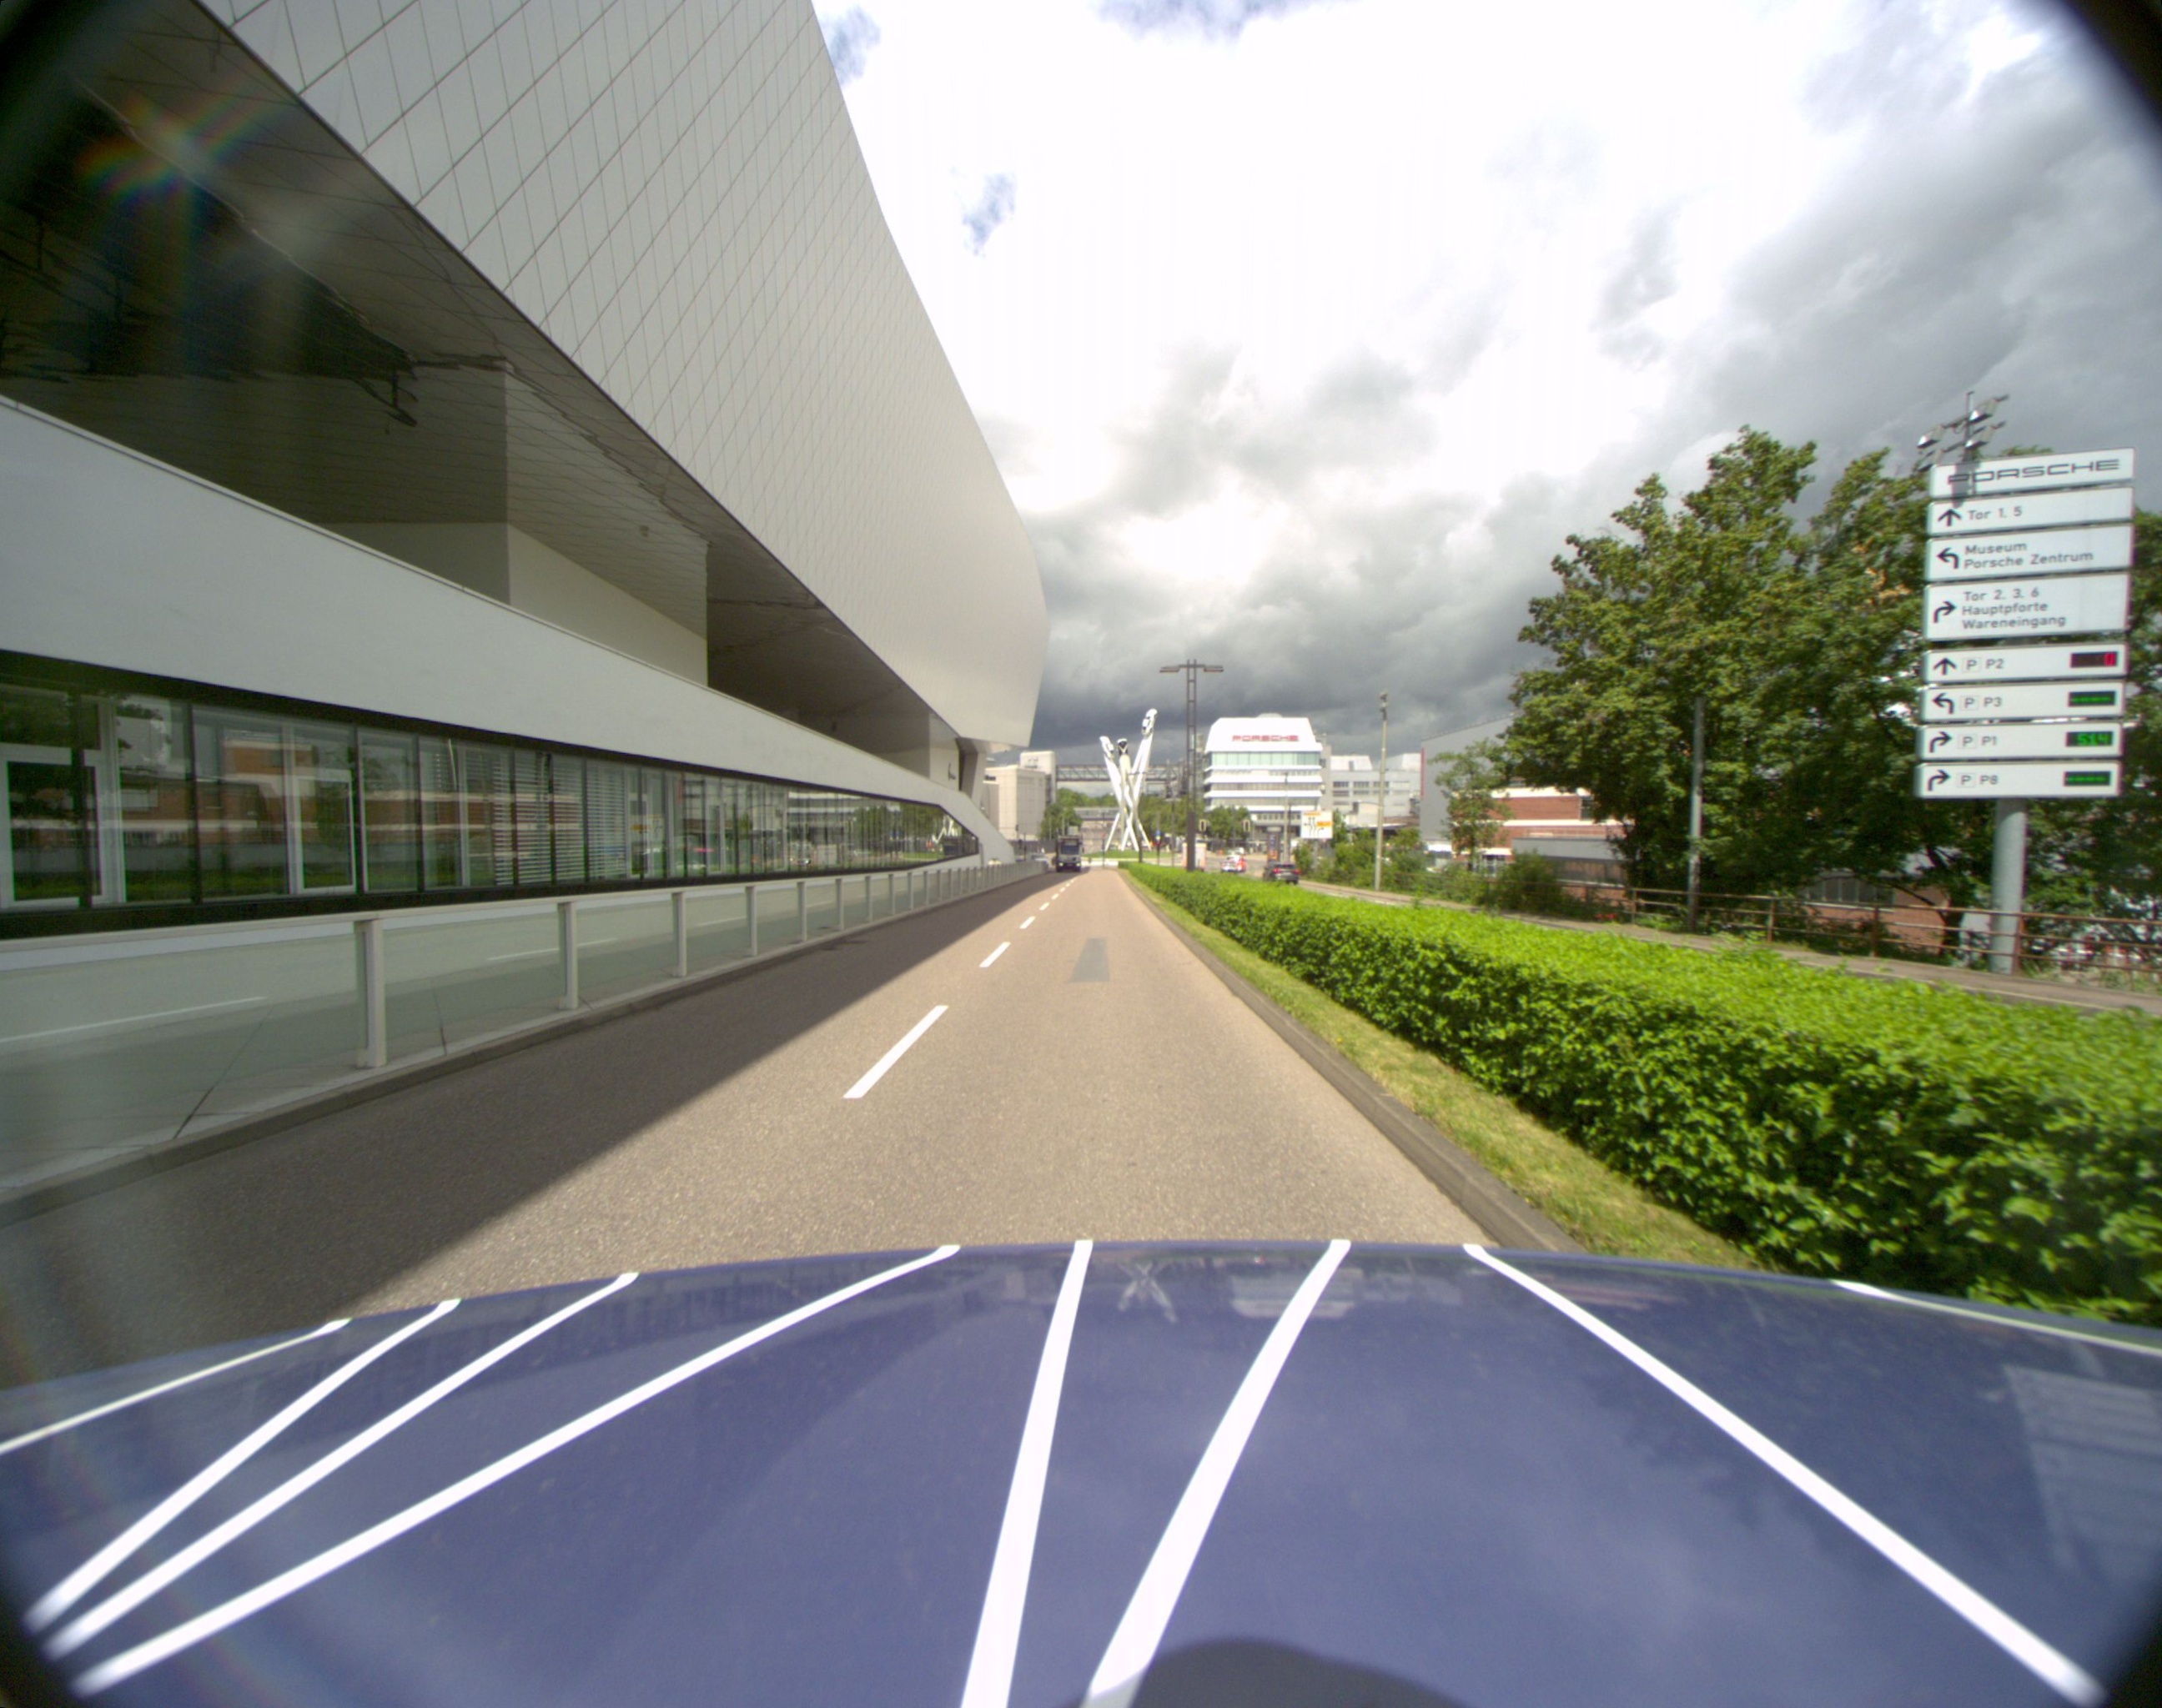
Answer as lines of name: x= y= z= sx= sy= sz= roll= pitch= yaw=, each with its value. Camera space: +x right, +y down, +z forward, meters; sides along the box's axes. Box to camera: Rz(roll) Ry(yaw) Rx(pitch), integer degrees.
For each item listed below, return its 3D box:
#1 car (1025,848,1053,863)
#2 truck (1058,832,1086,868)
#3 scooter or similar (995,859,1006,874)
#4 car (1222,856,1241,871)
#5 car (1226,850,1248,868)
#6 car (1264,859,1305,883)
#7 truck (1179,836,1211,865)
car: x=-5.684 y=0.139 z=102.093 sx=2.166 sy=1.899 sz=5.294 roll=-1 pitch=1 yaw=-22
truck: x=-1.077 y=-0.434 z=82.615 sx=2.844 sy=3.669 sz=10.749 roll=0 pitch=1 yaw=-2
scooter or similar: x=-6.573 y=1.013 z=62.159 sx=0.708 sy=1.236 sz=1.952 roll=0 pitch=1 yaw=1
car: x=15.921 y=0.962 z=80.321 sx=1.799 sy=1.414 sz=4.496 roll=1 pitch=1 yaw=13
car: x=17.906 y=0.519 z=87.057 sx=1.996 sy=1.946 sz=4.633 roll=0 pitch=1 yaw=17
car: x=13.461 y=1.077 z=50.513 sx=1.843 sy=1.499 sz=4.563 roll=0 pitch=0 yaw=5
truck: x=12.292 y=-0.286 z=82.684 sx=2.861 sy=2.840 sz=9.383 roll=0 pitch=-1 yaw=5
